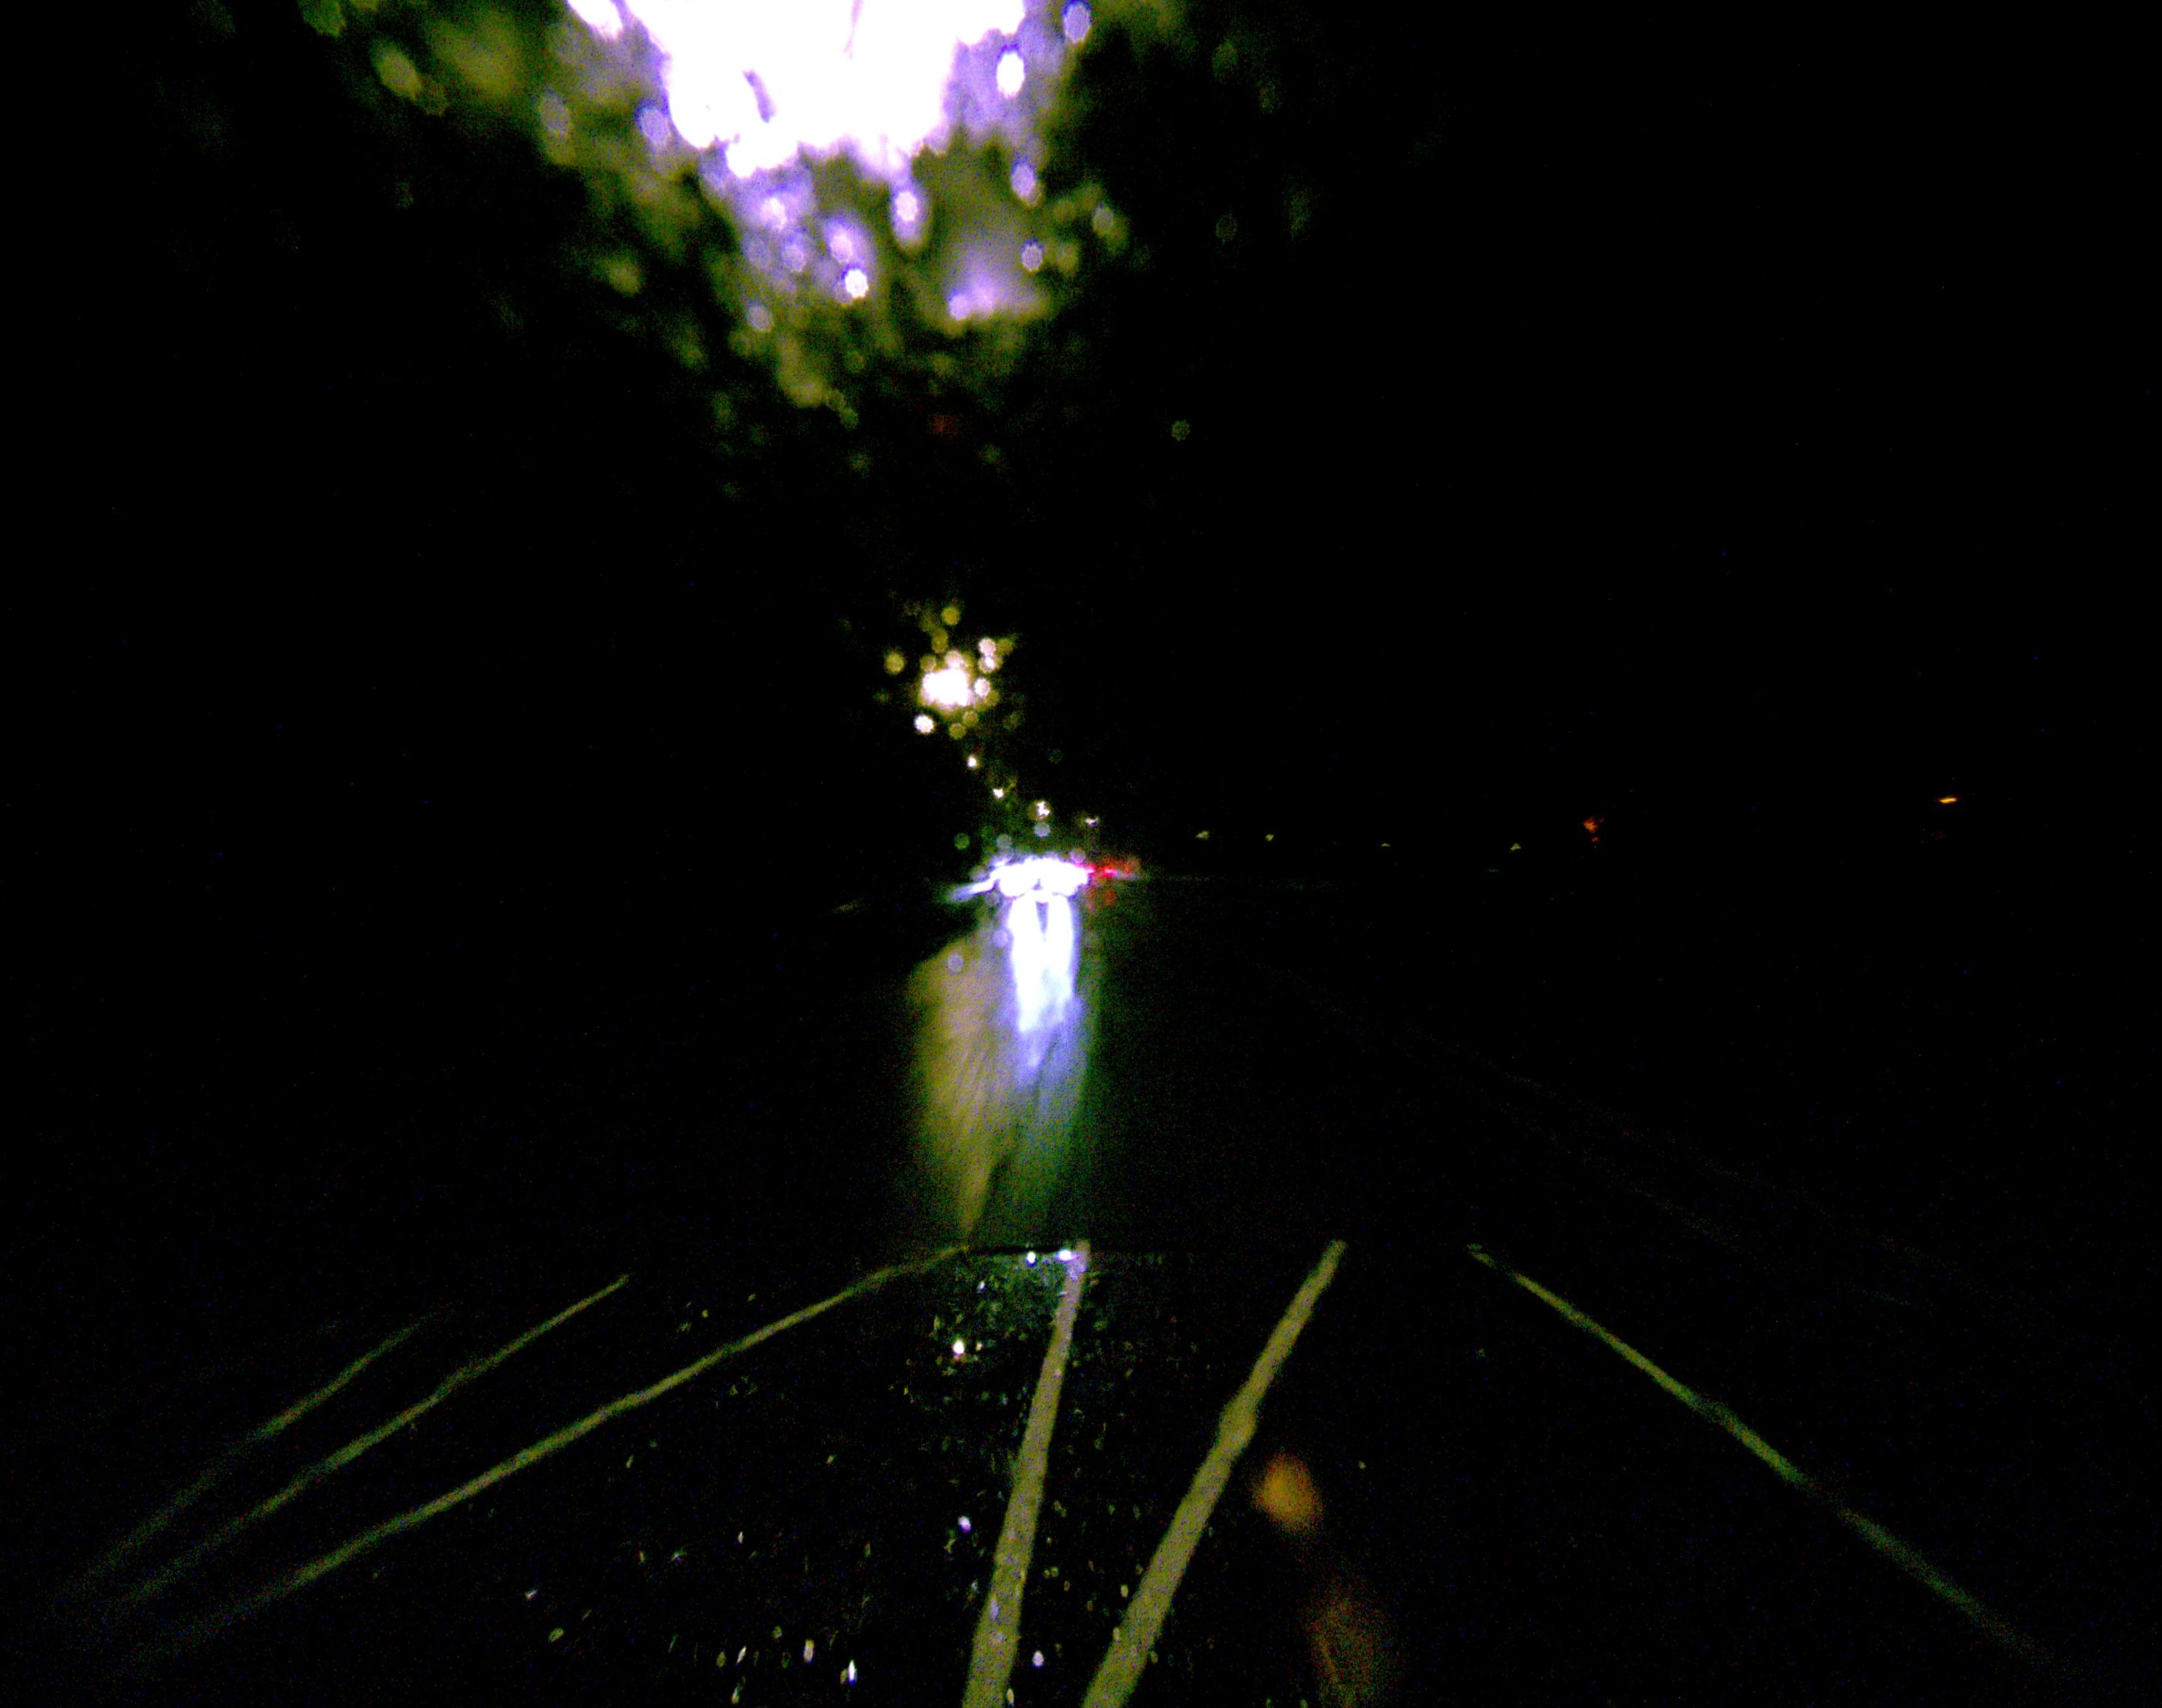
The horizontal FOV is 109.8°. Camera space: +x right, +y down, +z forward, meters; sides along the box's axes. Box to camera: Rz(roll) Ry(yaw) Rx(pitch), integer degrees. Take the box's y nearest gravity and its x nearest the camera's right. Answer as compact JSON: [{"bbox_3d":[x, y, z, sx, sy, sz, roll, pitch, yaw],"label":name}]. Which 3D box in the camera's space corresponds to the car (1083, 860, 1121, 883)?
[{"bbox_3d":[1.301,1.112,48.713,1.829,1.394,4.033,-1,-1,-7],"label":"car"}]

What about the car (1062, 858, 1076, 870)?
[{"bbox_3d":[-1.515,1.299,95.763,1.622,1.470,4.045,1,0,-3],"label":"car"}]

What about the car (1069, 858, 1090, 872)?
[{"bbox_3d":[-0.221,1.151,80.425,1.765,1.423,4.325,0,0,-6],"label":"car"}]

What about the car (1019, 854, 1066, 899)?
[{"bbox_3d":[-1.764,0.990,34.705,1.937,1.861,3.999,-2,0,-3],"label":"car"}]
